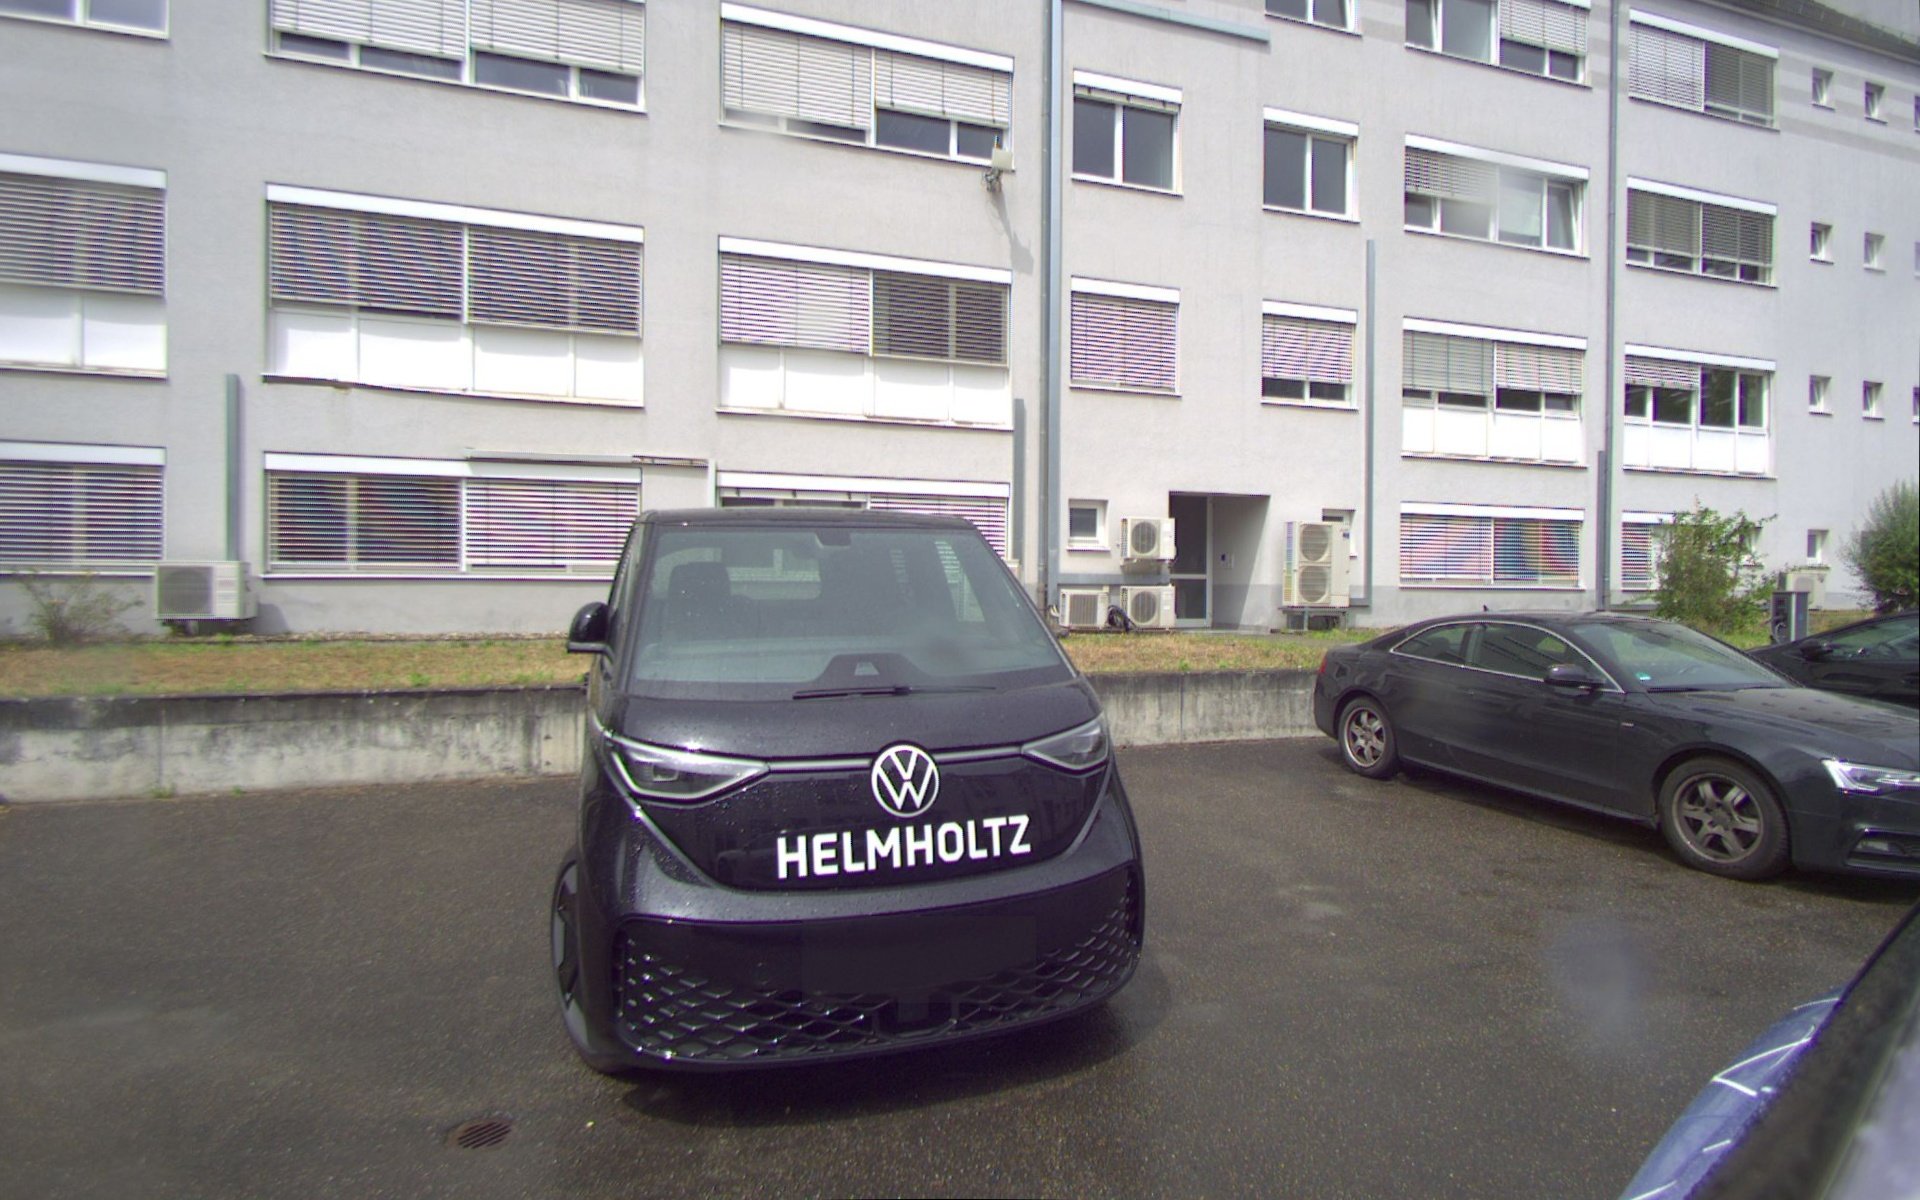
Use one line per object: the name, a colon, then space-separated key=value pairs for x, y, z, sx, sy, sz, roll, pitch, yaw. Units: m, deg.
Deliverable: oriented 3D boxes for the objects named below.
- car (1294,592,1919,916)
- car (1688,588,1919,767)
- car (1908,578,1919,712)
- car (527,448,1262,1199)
car: x=4.440 y=0.677 z=6.877 sx=1.821 sy=1.365 sz=4.378 roll=1 pitch=1 yaw=-19
car: x=8.828 y=0.656 z=8.390 sx=1.899 sy=1.418 sz=4.193 roll=0 pitch=2 yaw=-19
car: x=11.943 y=0.564 z=9.465 sx=1.794 sy=1.473 sz=4.121 roll=0 pitch=2 yaw=-17
car: x=-0.834 y=0.479 z=5.016 sx=2.066 sy=1.856 sz=4.736 roll=0 pitch=2 yaw=-19
